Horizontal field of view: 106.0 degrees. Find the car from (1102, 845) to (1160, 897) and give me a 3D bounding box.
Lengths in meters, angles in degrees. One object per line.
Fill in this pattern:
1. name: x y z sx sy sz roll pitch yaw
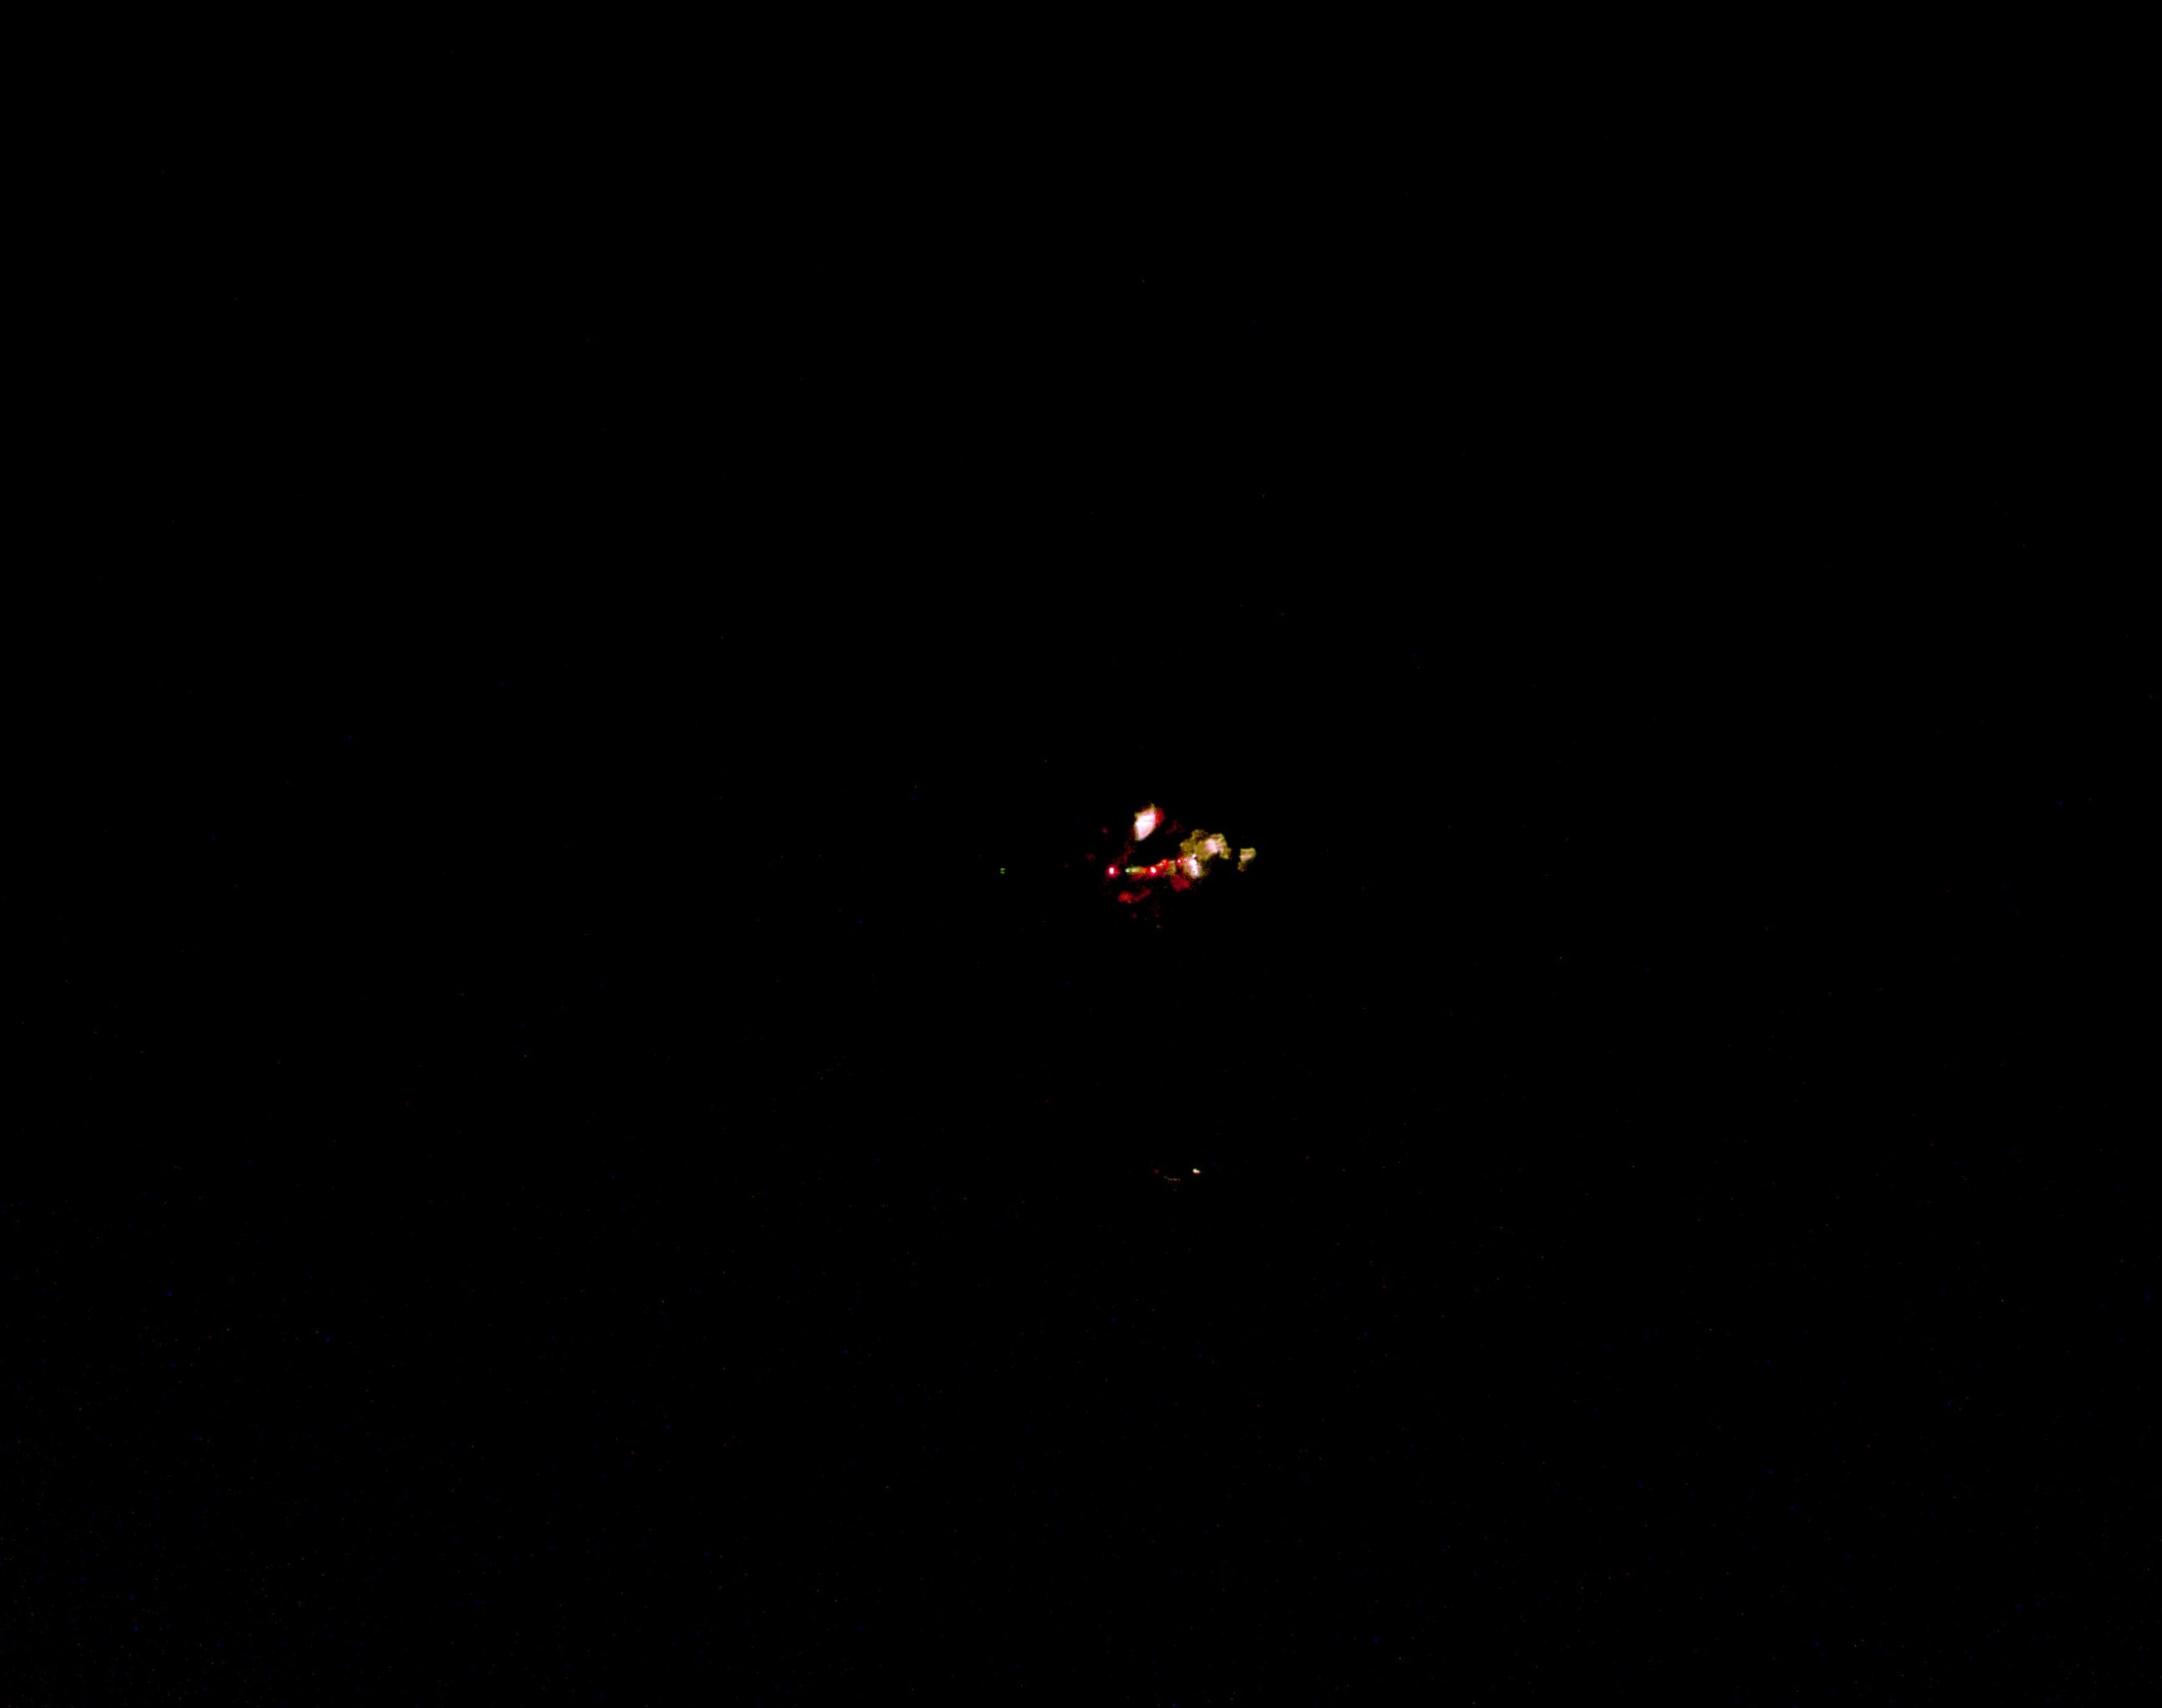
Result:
1. car: 1.906 0.615 32.179 1.987 1.807 3.918 -4 0 1
